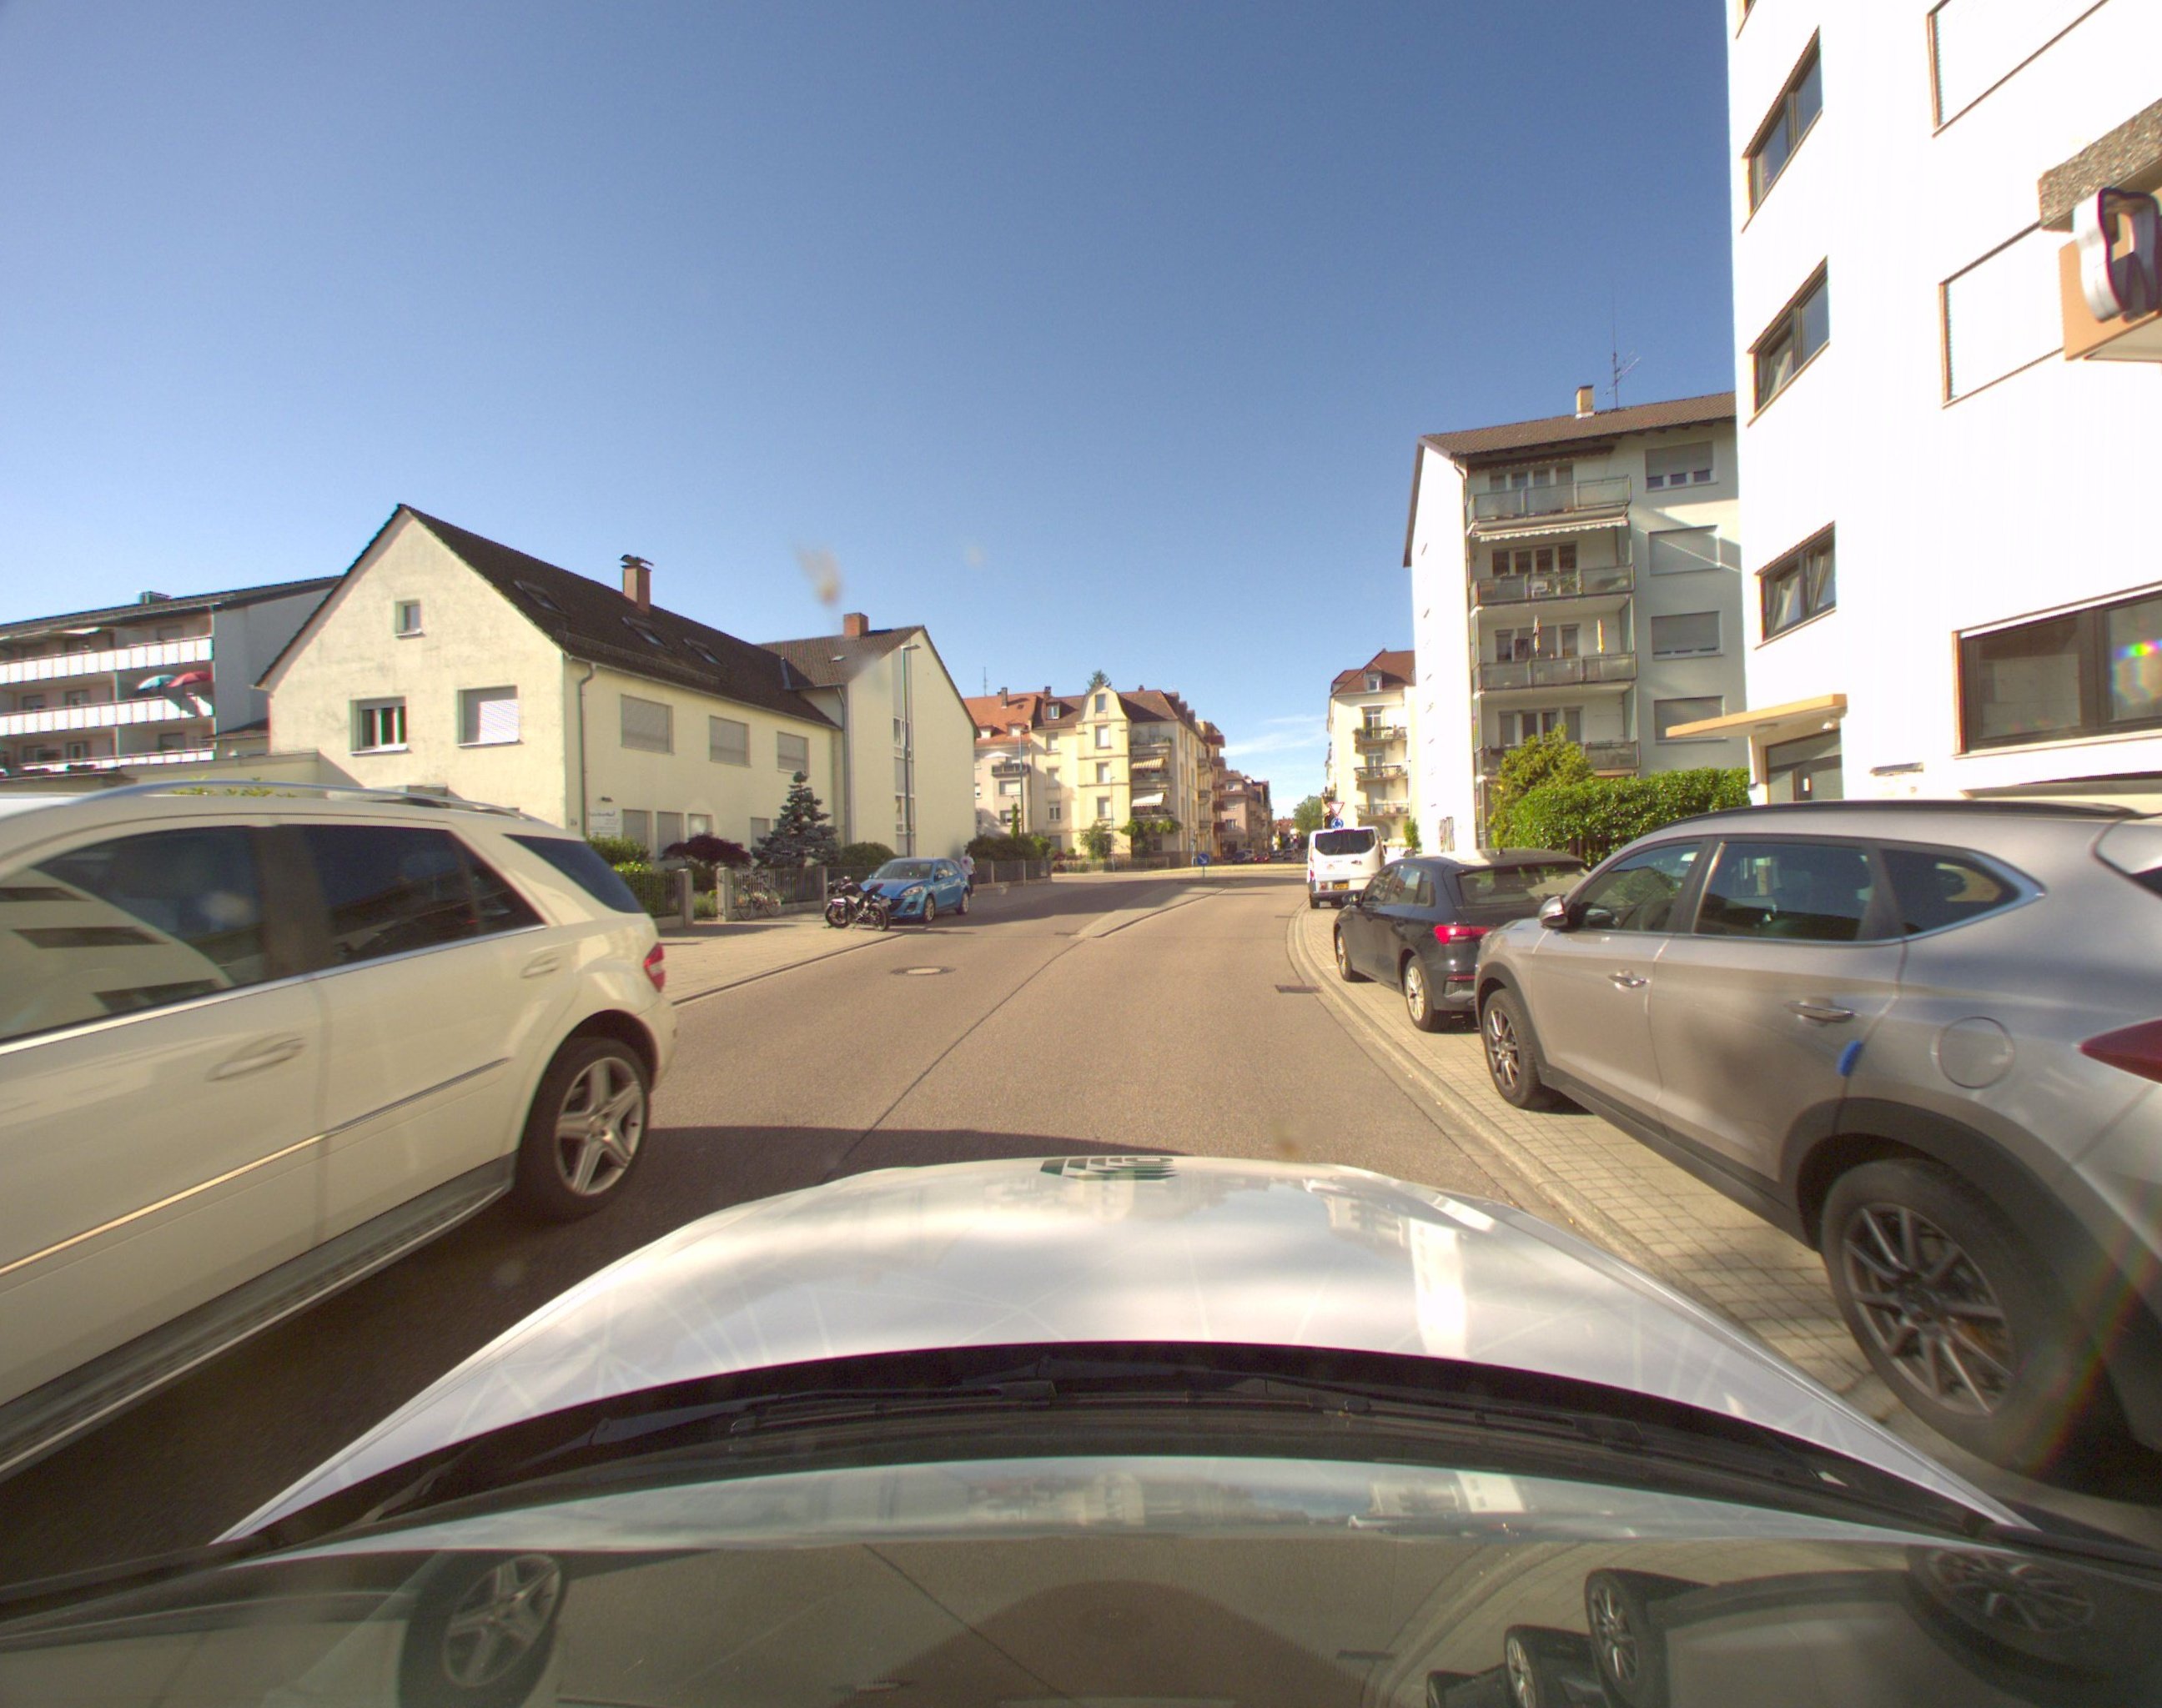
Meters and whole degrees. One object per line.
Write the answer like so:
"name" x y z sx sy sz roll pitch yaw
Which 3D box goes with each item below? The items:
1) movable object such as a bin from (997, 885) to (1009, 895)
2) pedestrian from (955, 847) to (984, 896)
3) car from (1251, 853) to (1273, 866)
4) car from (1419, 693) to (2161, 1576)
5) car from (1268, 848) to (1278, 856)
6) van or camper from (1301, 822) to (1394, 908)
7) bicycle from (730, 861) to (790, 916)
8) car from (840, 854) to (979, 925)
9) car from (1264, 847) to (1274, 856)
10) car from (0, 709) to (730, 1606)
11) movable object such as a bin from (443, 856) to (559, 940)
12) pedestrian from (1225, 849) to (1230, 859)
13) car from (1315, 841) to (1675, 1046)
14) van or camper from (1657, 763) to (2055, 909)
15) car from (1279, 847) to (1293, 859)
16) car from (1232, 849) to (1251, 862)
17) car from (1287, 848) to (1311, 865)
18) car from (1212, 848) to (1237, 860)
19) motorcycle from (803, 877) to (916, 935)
"movable object such as a bin" -2.834 1.315 29.565 0.218 0.348 0.523 -2 0 18
"pedestrian" -3.957 0.634 28.943 0.677 1.704 0.827 -2 -3 17
"car" 21.260 0.687 95.364 1.725 1.354 3.690 -3 -3 24
"car" 3.110 0.588 3.436 1.808 1.653 4.566 -2 -3 6
"car" 38.068 -0.424 161.520 1.622 1.656 3.687 -2 0 17
"van or camper" 7.115 0.262 21.815 2.004 1.947 4.725 -4 -1 18
"bicycle" -7.660 0.831 19.531 0.454 1.250 1.932 -2 -3 7
"car" -3.950 0.758 19.555 1.787 1.473 4.342 0 0 9
"car" 35.010 -0.521 151.679 1.622 1.656 3.687 -2 0 17
"car" -3.118 0.634 2.328 1.981 1.785 4.523 -2 0 4
"movable object such as a bin" -10.926 0.834 15.394 1.274 1.490 1.231 -2 -3 12
"pedestrian" 24.254 0.004 134.845 0.793 1.750 0.849 -1 0 17
"car" 3.667 0.665 8.180 1.709 1.408 4.321 -4 0 6
"van or camper" 13.750 -0.263 14.851 4.924 2.288 1.862 -2 0 15
"car" 32.114 -0.128 127.691 1.979 1.739 4.016 -2 0 15
"car" 19.422 0.187 98.350 1.979 1.532 4.016 -1 0 14
"car" 25.624 0.274 95.669 2.412 1.811 4.744 -2 0 17
"car" 25.558 0.051 145.091 3.866 2.013 1.773 -2 0 23
"motorcycle" -4.508 1.033 16.586 2.039 1.019 0.952 2 1 21
